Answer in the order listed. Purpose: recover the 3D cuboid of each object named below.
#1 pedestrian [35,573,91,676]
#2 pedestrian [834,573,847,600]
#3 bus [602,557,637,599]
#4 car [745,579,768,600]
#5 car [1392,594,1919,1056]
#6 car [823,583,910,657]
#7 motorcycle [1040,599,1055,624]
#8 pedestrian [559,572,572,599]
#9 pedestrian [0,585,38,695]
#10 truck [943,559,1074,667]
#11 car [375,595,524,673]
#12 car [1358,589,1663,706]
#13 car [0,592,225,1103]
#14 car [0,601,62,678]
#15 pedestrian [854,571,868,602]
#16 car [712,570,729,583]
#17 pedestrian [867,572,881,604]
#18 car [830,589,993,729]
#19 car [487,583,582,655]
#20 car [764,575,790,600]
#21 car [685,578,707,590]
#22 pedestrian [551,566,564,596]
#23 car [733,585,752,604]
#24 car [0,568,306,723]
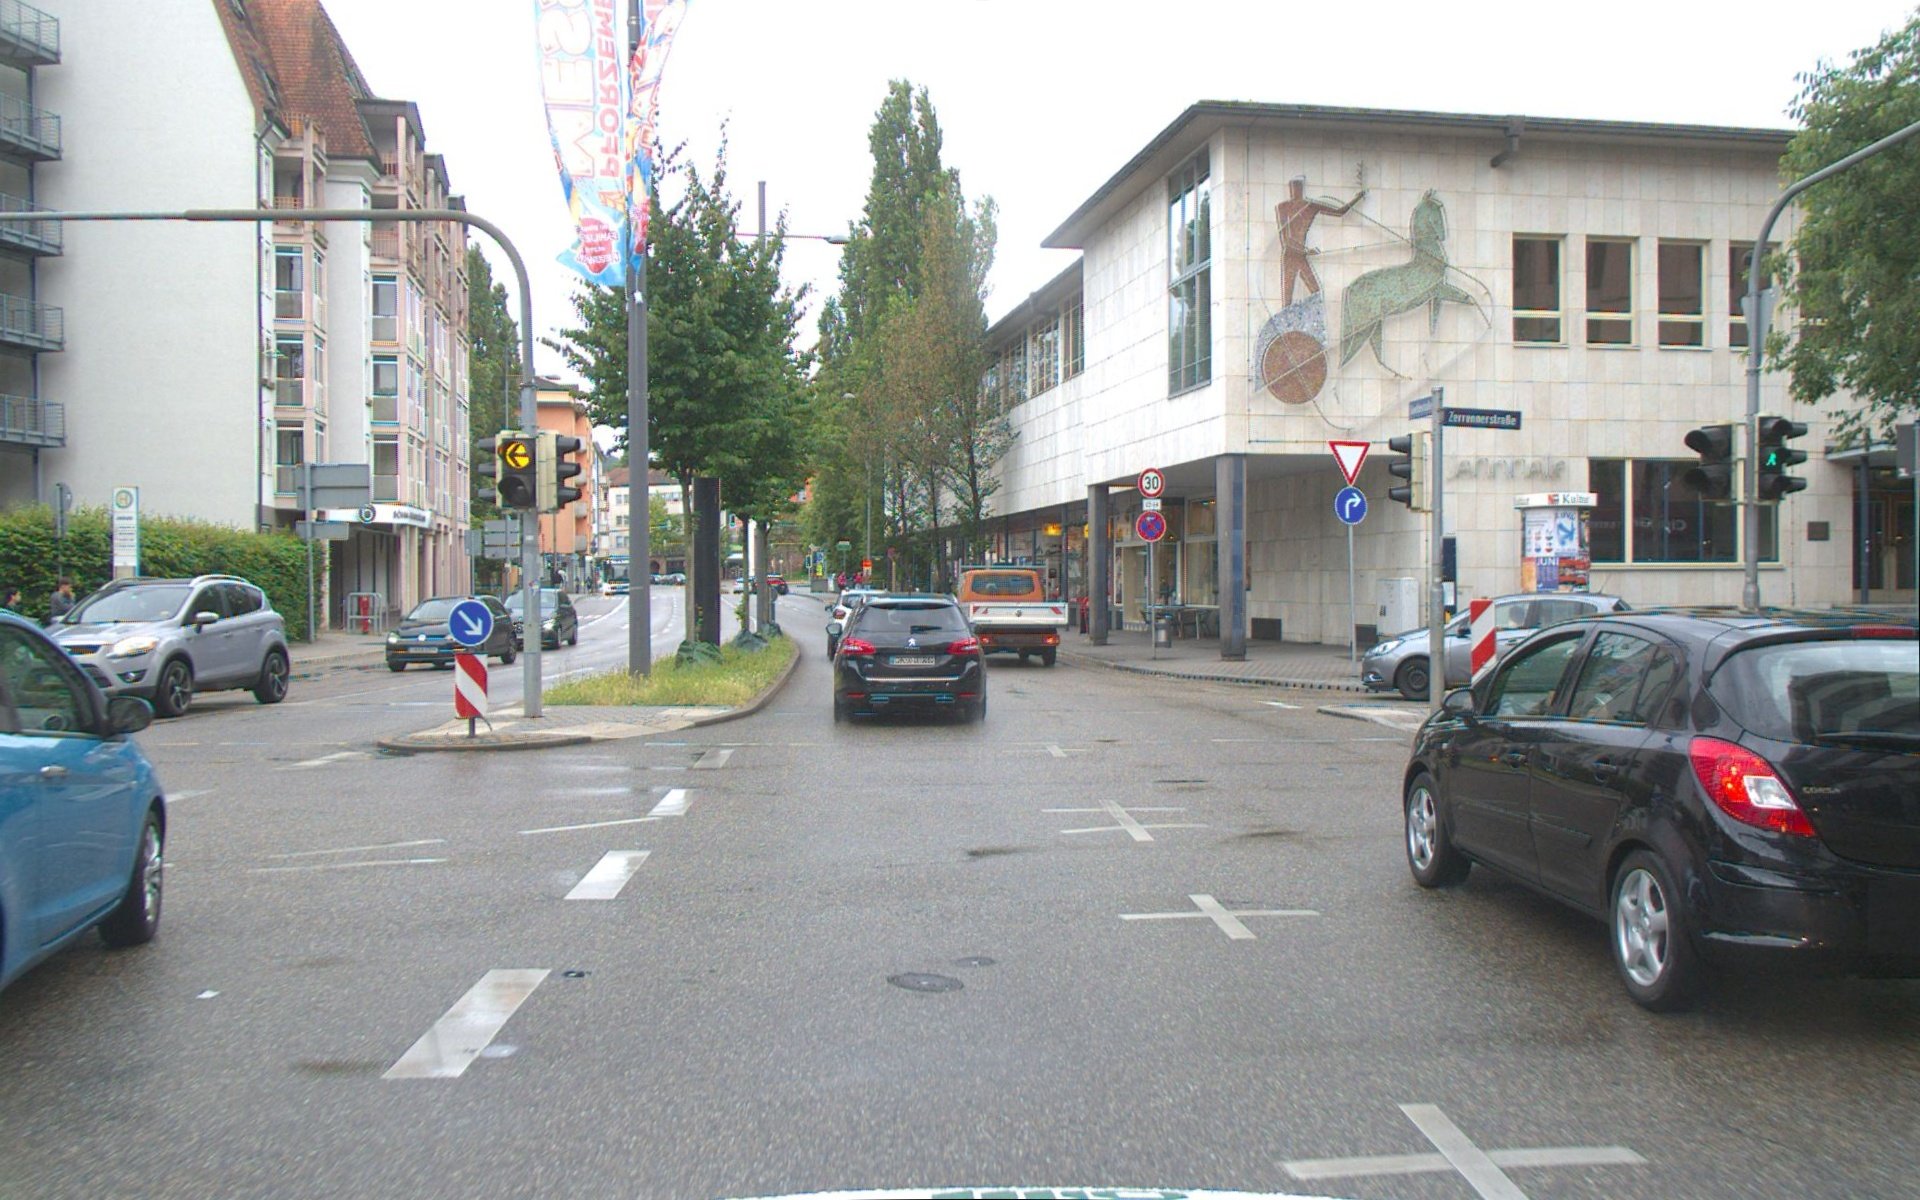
[{"bbox_3d":[-15.684,0.436,28.927,0.628,1.796,0.592,0,-3,-2],"label":"pedestrian"},{"bbox_3d":[-7.363,-0.853,101.949,0.704,1.648,0.767,-2,1,-10],"label":"pedestrian"},{"bbox_3d":[-28.021,-1.883,135.952,2.696,3.129,12.203,0,2,-12],"label":"bus"},{"bbox_3d":[-17.080,-0.891,138.738,1.615,1.592,3.591,3,-2,-10],"label":"car"},{"bbox_3d":[3.315,0.738,7.283,1.674,1.482,3.740,1,0,-3],"label":"car"},{"bbox_3d":[-1.997,0.389,35.851,1.759,1.509,3.998,0,0,-2],"label":"car"},{"bbox_3d":[2.977,0.397,56.492,0.318,0.818,0.918,-1,1,-10],"label":"motorcycle"},{"bbox_3d":[-26.658,-0.984,111.785,0.782,1.825,0.811,1,0,-8],"label":"pedestrian"},{"bbox_3d":[-15.628,0.666,27.229,0.516,1.796,0.630,0,-3,-2],"label":"pedestrian"},{"bbox_3d":[0.929,0.267,34.580,2.081,2.061,4.709,1,0,-6],"label":"truck"},{"bbox_3d":[-10.339,0.668,33.791,1.721,1.445,4.096,-2,0,0],"label":"car"},{"bbox_3d":[7.751,0.632,23.354,3.905,1.502,2.000,1,-1,21],"label":"car"},{"bbox_3d":[-3.900,0.726,5.868,1.666,1.500,3.678,0,0,-13],"label":"car"},{"bbox_3d":[-20.131,0.800,33.964,1.563,1.537,3.597,-1,0,-4],"label":"car"},{"bbox_3d":[-5.735,-0.778,95.470,0.641,1.798,0.920,-2,1,-10],"label":"pedestrian"},{"bbox_3d":[-32.500,-3.156,224.665,1.959,1.713,3.987,0,1,-13],"label":"car"},{"bbox_3d":[-4.954,-0.714,95.572,0.685,1.833,0.605,-2,1,-11],"label":"pedestrian"},{"bbox_3d":[-0.544,0.652,19.914,1.758,1.509,3.999,0,0,-1],"label":"car"},{"bbox_3d":[-11.350,0.468,44.401,1.792,1.766,4.253,-2,0,-6],"label":"car"},{"bbox_3d":[-13.472,-0.895,121.846,1.615,1.592,3.591,3,-2,-10],"label":"car"},{"bbox_3d":[-37.527,-2.311,235.184,1.630,1.592,3.556,4,-3,-34],"label":"car"},{"bbox_3d":[-24.651,-1.139,101.280,0.685,1.825,0.957,1,0,-7],"label":"pedestrian"},{"bbox_3d":[-20.888,-0.516,158.977,1.615,1.592,3.591,3,-2,-10],"label":"car"},{"bbox_3d":[-10.097,0.537,21.019,1.789,1.766,4.311,0,0,1],"label":"car"}]
